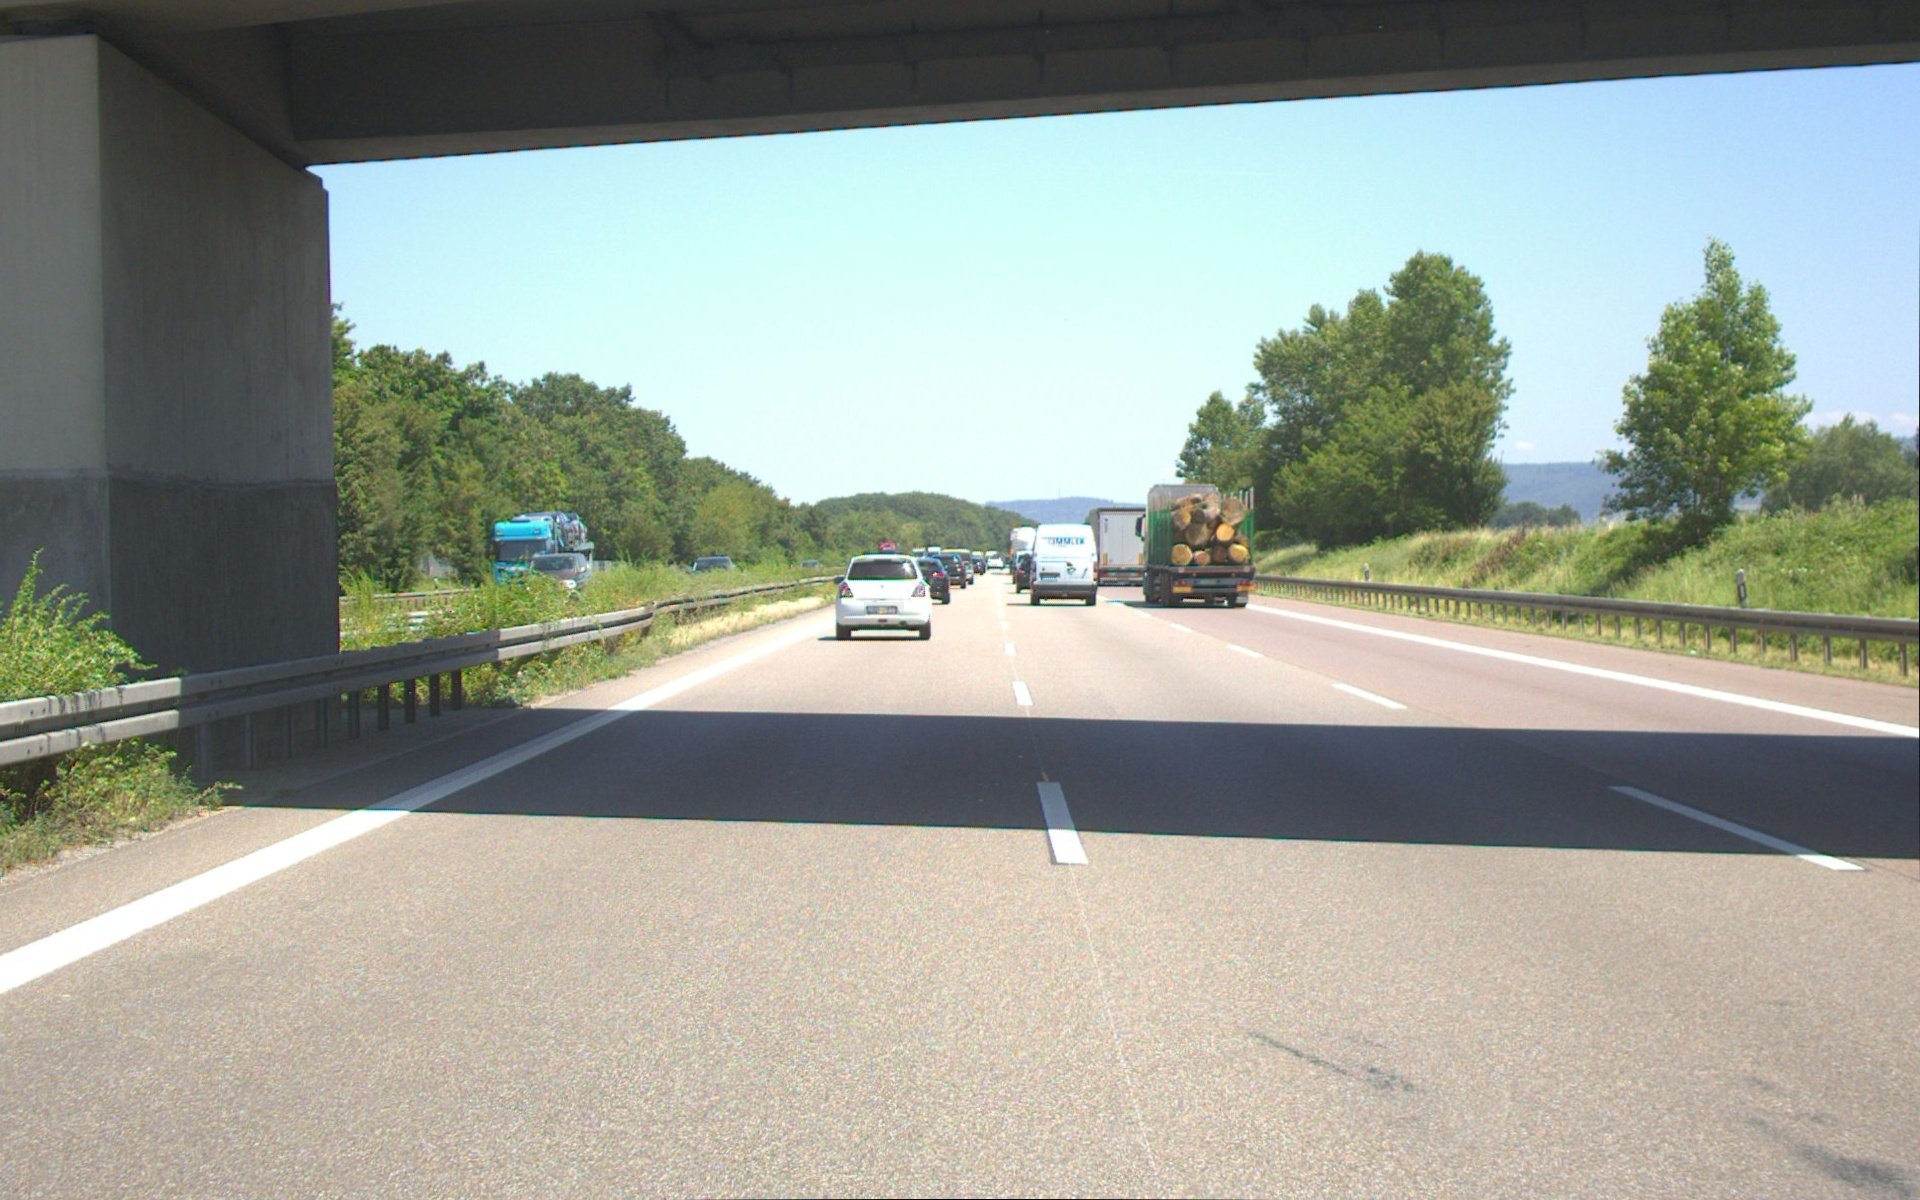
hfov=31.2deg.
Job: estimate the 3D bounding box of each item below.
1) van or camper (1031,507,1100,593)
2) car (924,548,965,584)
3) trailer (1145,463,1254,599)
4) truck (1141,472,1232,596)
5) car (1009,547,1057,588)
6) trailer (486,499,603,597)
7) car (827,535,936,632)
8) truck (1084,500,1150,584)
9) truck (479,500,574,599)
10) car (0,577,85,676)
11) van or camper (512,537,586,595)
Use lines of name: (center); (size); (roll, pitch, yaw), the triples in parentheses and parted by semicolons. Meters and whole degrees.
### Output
van or camper: (3.286, -1.559, 107.779); (2.058, 2.613, 5.985); (0, 1, 1)
car: (-0.728, -1.592, 159.915); (1.857, 1.646, 4.000); (1, 1, -1)
trailer: (7.363, -2.094, 107.288); (2.653, 3.945, 13.636); (1, 1, 1)
truck: (7.493, -2.181, 114.325); (2.670, 3.981, 6.636); (1, 1, 1)
car: (3.008, -1.346, 142.126); (1.857, 1.646, 4.000); (1, 1, -1)
trailer: (-18.344, -2.281, 152.941); (2.878, 3.964, 17.475); (-3, 1, 0)
car: (-1.393, -0.306, 62.213); (1.857, 1.646, 4.000); (1, 1, -1)
truck: (8.322, -3.048, 183.642); (3.079, 4.194, 16.843); (1, 1, 1)
truck: (-18.424, -2.146, 146.470); (2.878, 3.962, 7.373); (-3, 1, 0)
car: (-14.198, 0.362, 51.028); (1.515, 1.382, 3.167); (1, 1, 2)
van or camper: (-14.088, -1.169, 118.121); (1.993, 1.863, 4.456); (-2, 1, -1)
